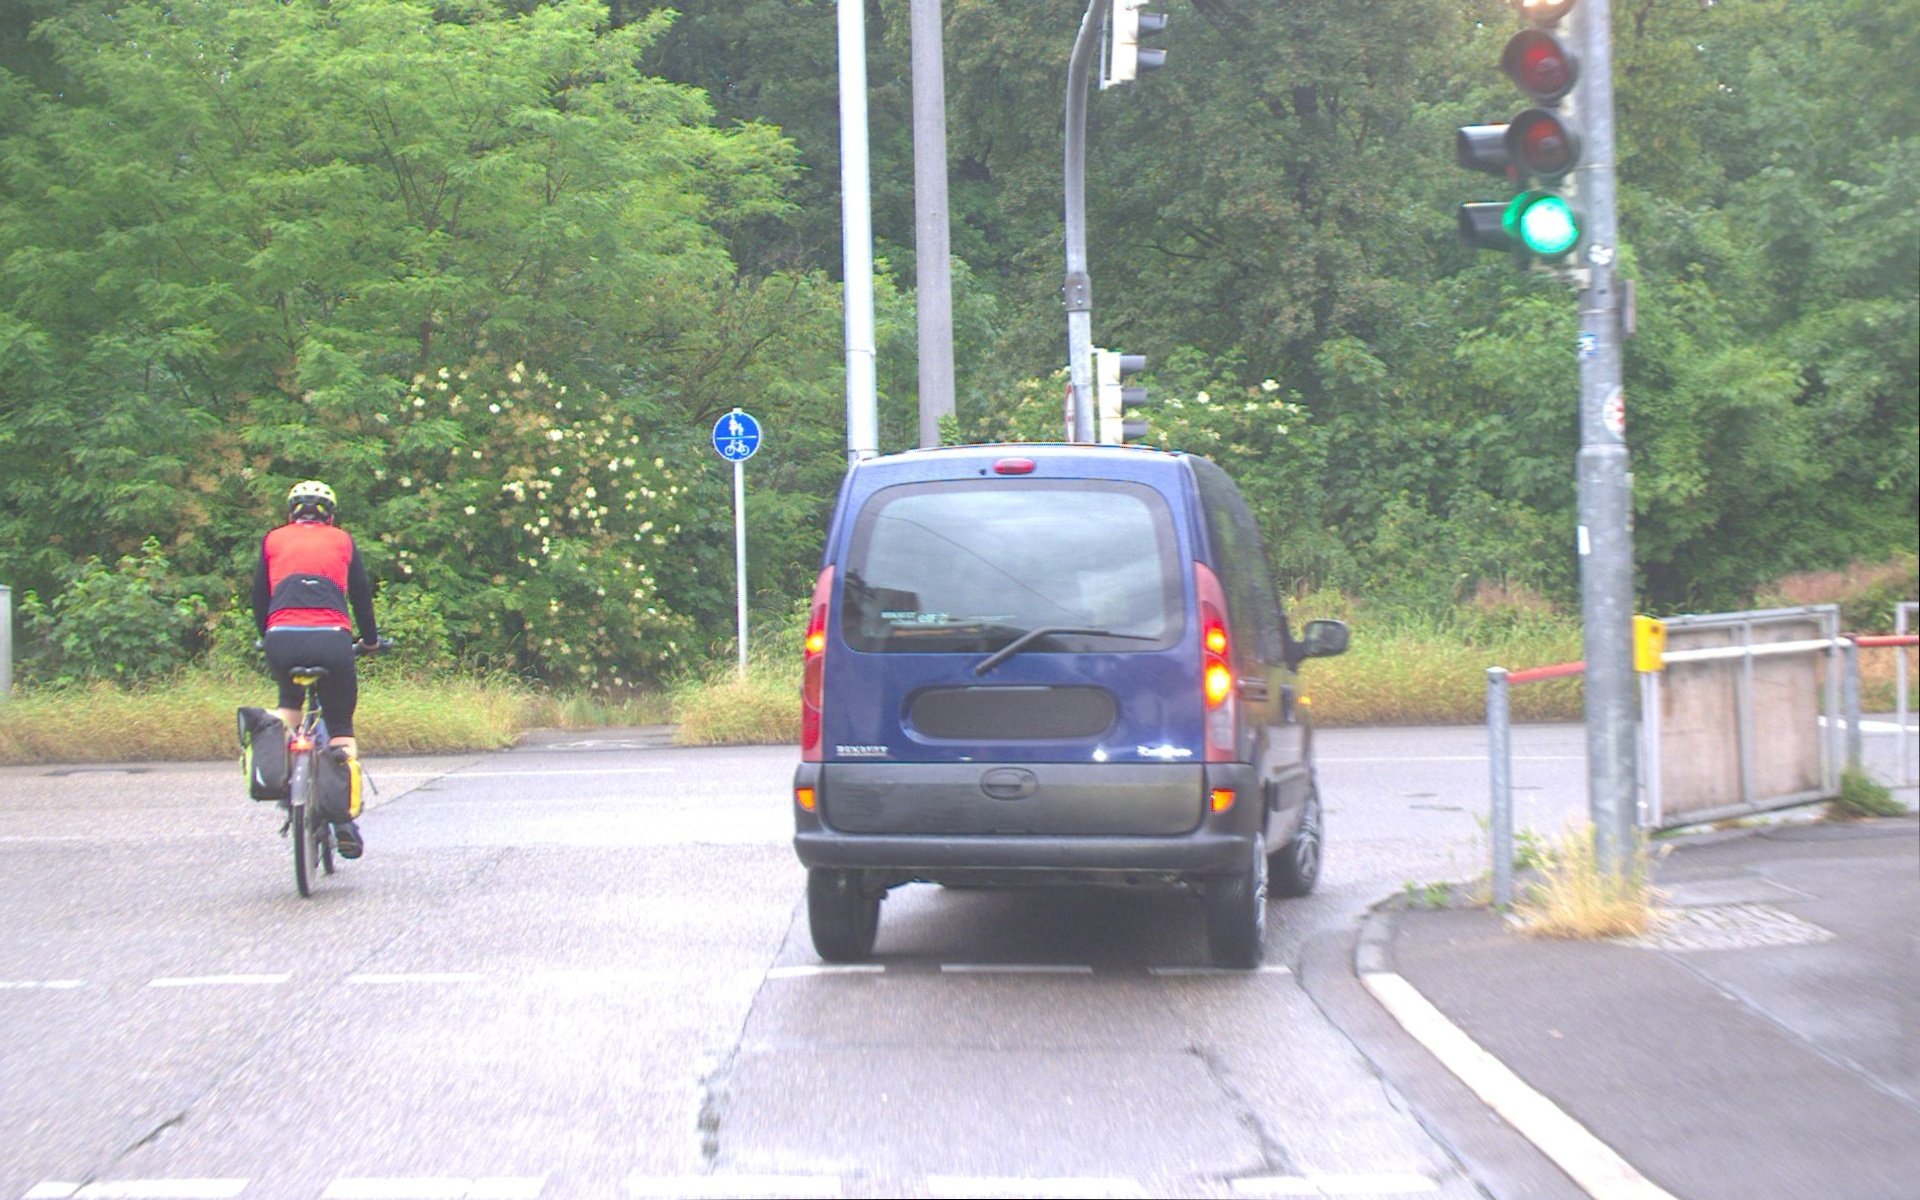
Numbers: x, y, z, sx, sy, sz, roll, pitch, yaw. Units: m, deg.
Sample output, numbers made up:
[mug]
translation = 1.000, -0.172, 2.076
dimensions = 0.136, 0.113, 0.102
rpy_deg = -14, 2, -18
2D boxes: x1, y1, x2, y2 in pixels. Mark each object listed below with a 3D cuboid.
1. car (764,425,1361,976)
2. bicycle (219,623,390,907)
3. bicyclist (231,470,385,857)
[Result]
[car]
translation = 0.558, 0.322, 13.393
dimensions = 1.809, 1.791, 3.999
rpy_deg = -2, 0, 9
[bicycle]
translation = -2.870, 0.684, 15.202
dimensions = 0.578, 1.093, 2.155
rpy_deg = -1, 1, -7
[bicyclist]
translation = -2.872, 0.258, 15.220
dimensions = 0.578, 1.647, 1.049
rpy_deg = -1, 1, -7
